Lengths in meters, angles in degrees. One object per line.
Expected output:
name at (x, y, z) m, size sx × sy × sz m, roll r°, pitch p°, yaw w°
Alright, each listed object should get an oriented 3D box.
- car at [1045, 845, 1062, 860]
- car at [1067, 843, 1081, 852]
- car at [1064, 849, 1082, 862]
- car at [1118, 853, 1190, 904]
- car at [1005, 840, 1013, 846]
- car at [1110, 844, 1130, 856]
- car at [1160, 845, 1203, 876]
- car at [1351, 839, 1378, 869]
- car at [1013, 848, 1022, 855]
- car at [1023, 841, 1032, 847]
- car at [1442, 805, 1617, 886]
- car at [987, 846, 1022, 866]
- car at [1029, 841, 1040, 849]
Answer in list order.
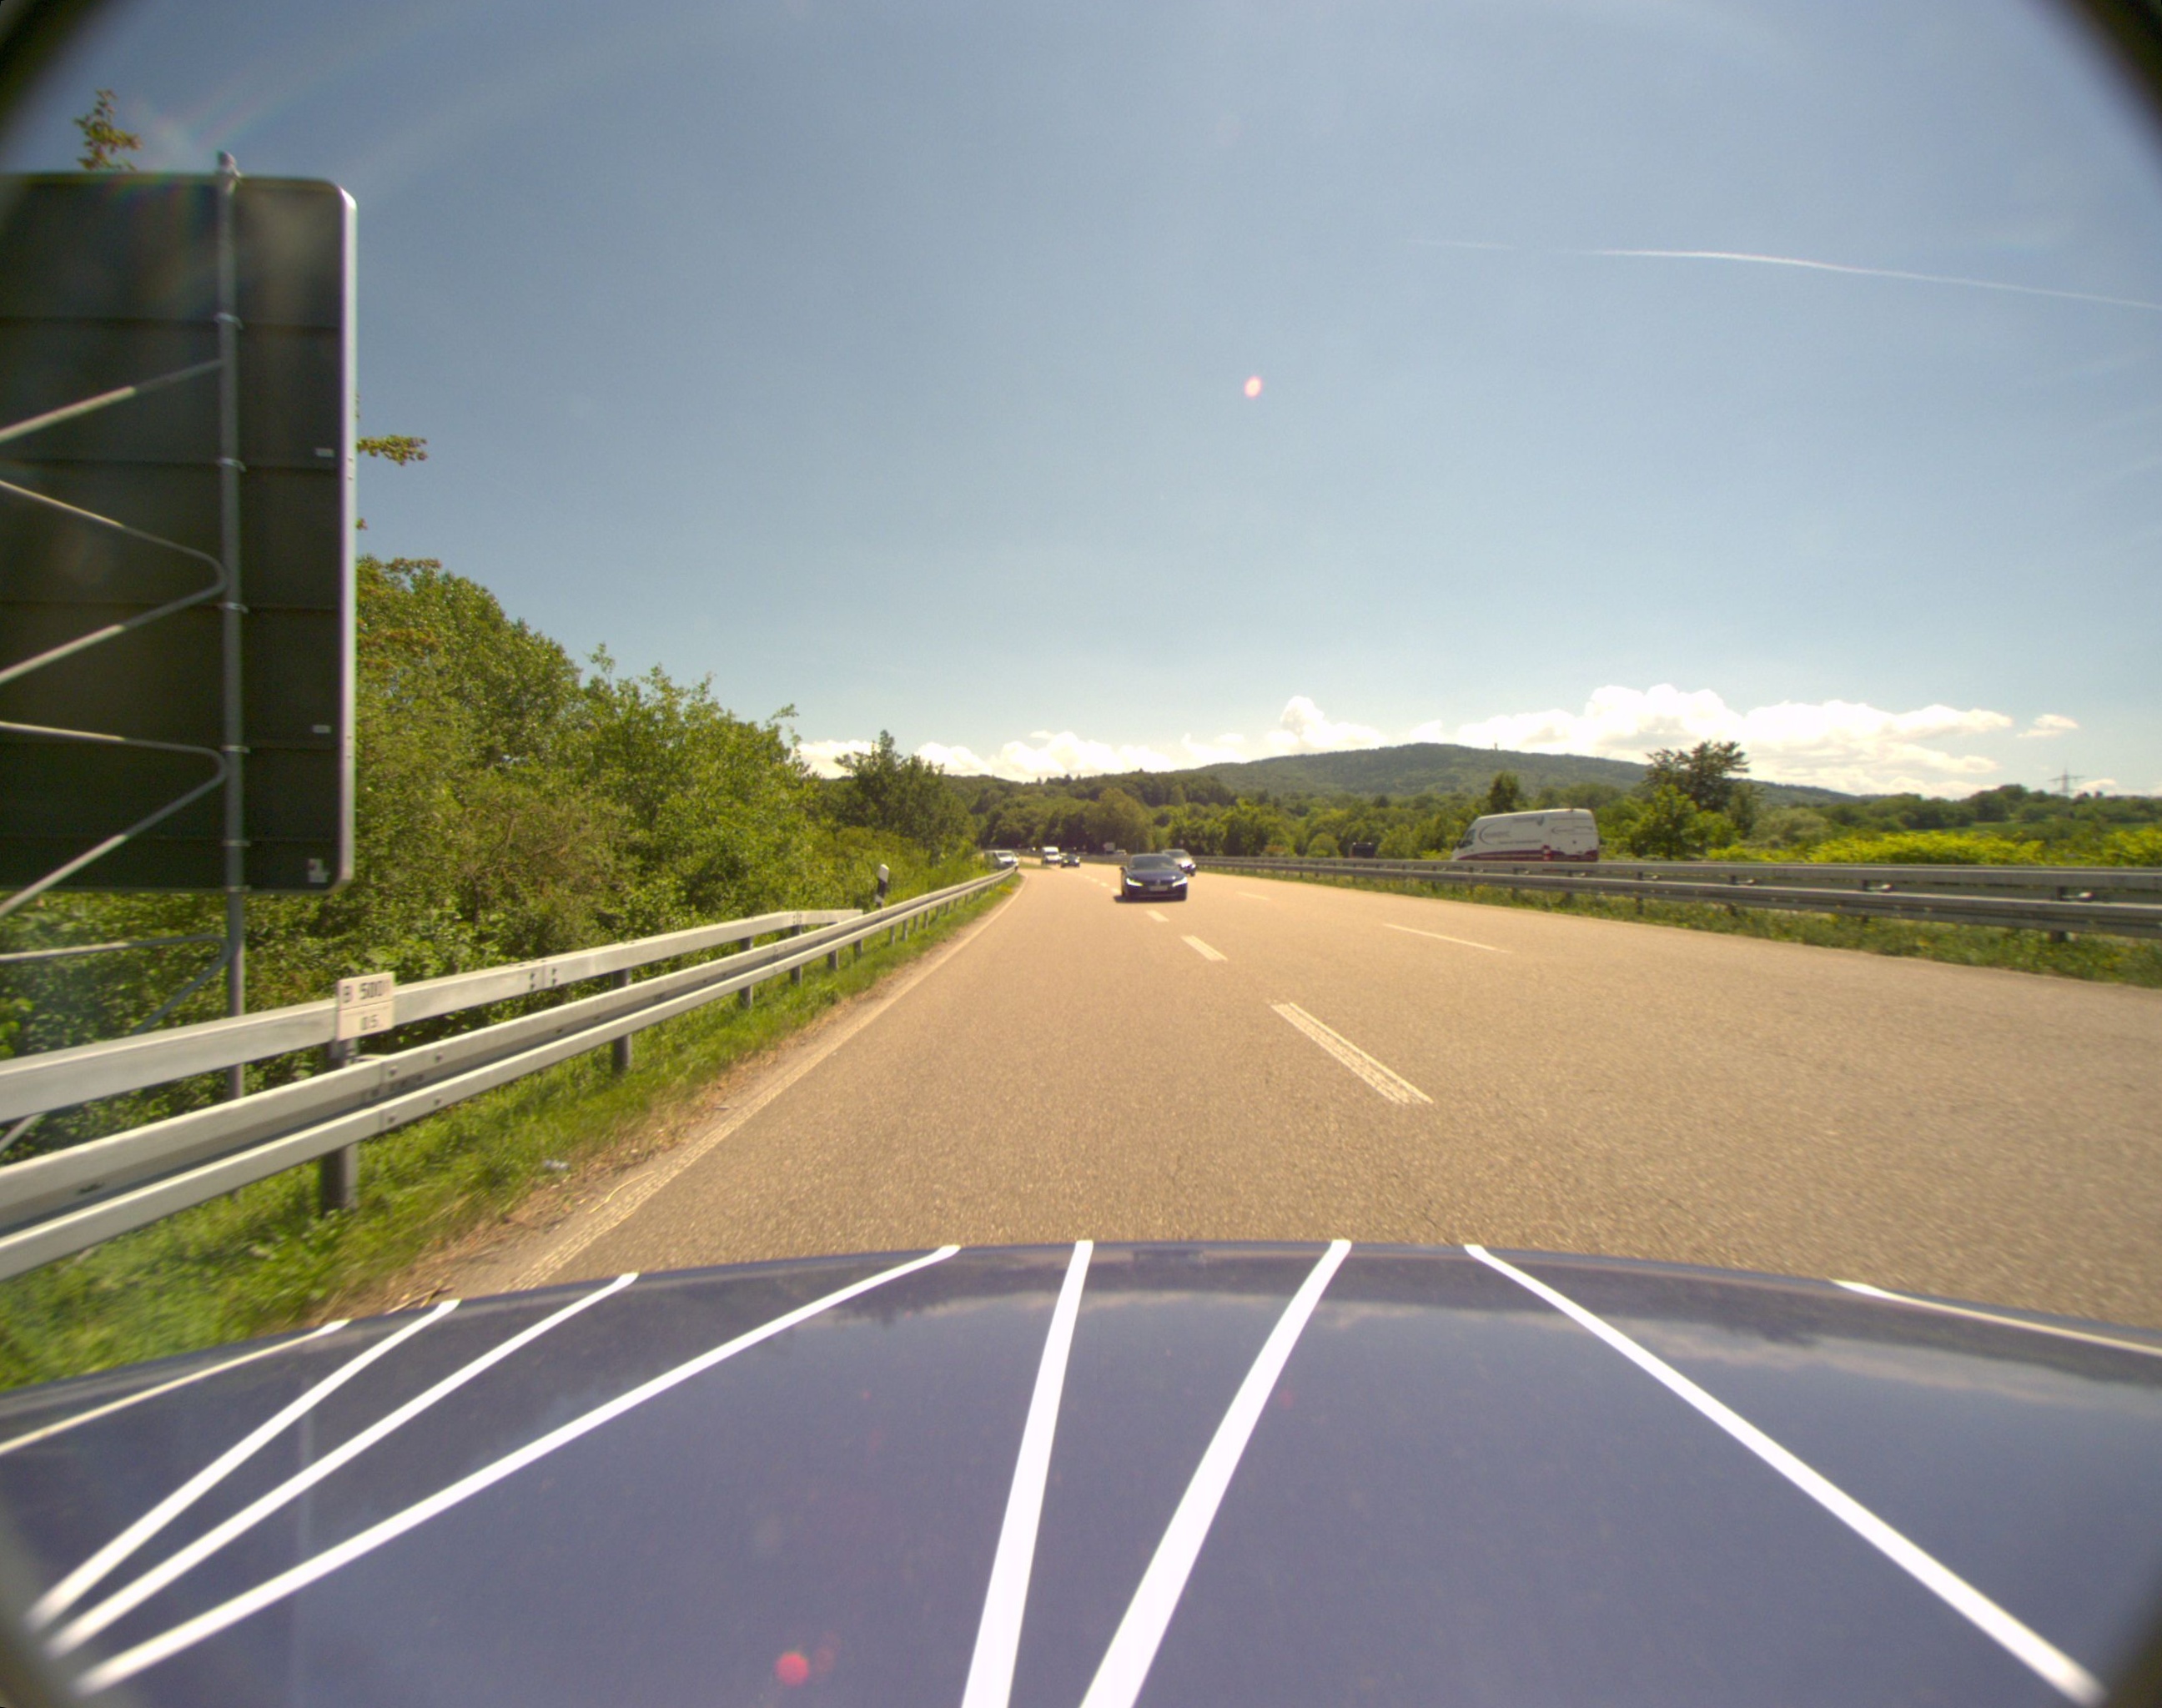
car at (-3.904, -0.215, 107.420) m, size 2.009 × 1.988 × 4.575 m, roll -1°, pitch 2°, yaw -7°
car at (-1.575, -1.521, 168.674) m, size 2.212 × 1.882 × 4.904 m, roll -1°, pitch 2°, yaw -14°
car at (-0.885, 0.139, 84.177) m, size 1.846 × 1.400 × 4.468 m, roll -1°, pitch 1°, yaw -2°
car at (2.231, 0.717, 24.220) m, size 1.846 × 1.399 × 4.469 m, roll -2°, pitch 0°, yaw 0°
car at (-24.419, -3.730, 258.483) m, size 2.001 × 1.882 × 4.905 m, roll -1°, pitch 2°, yaw -13°
car at (6.572, -0.730, 128.919) m, size 2.212 × 1.882 × 4.905 m, roll -1°, pitch 2°, yaw -13°
car at (5.879, 0.358, 44.737) m, size 1.798 × 1.658 × 4.553 m, roll -3°, pitch 0°, yaw -1°
car at (26.330, -0.043, 70.504) m, size 2.206 × 2.623 × 5.632 m, roll 0°, pitch 2°, yaw 21°
car at (-14.881, -0.645, 178.126) m, size 1.876 × 1.594 × 3.995 m, roll -1°, pitch 2°, yaw -9°
car at (-16.650, -3.117, 236.270) m, size 2.001 × 1.882 × 4.905 m, roll -1°, pitch 2°, yaw -13°
car at (17.017, -0.393, 29.528) m, size 2.285 × 2.758 × 7.218 m, roll 0°, pitch 2°, yaw -2°
car at (-7.318, 0.166, 72.683) m, size 1.888 × 1.724 × 4.459 m, roll -2°, pitch 2°, yaw -26°
car at (-12.913, -2.534, 211.537) m, size 2.001 × 1.882 × 4.903 m, roll -1°, pitch 2°, yaw -18°
